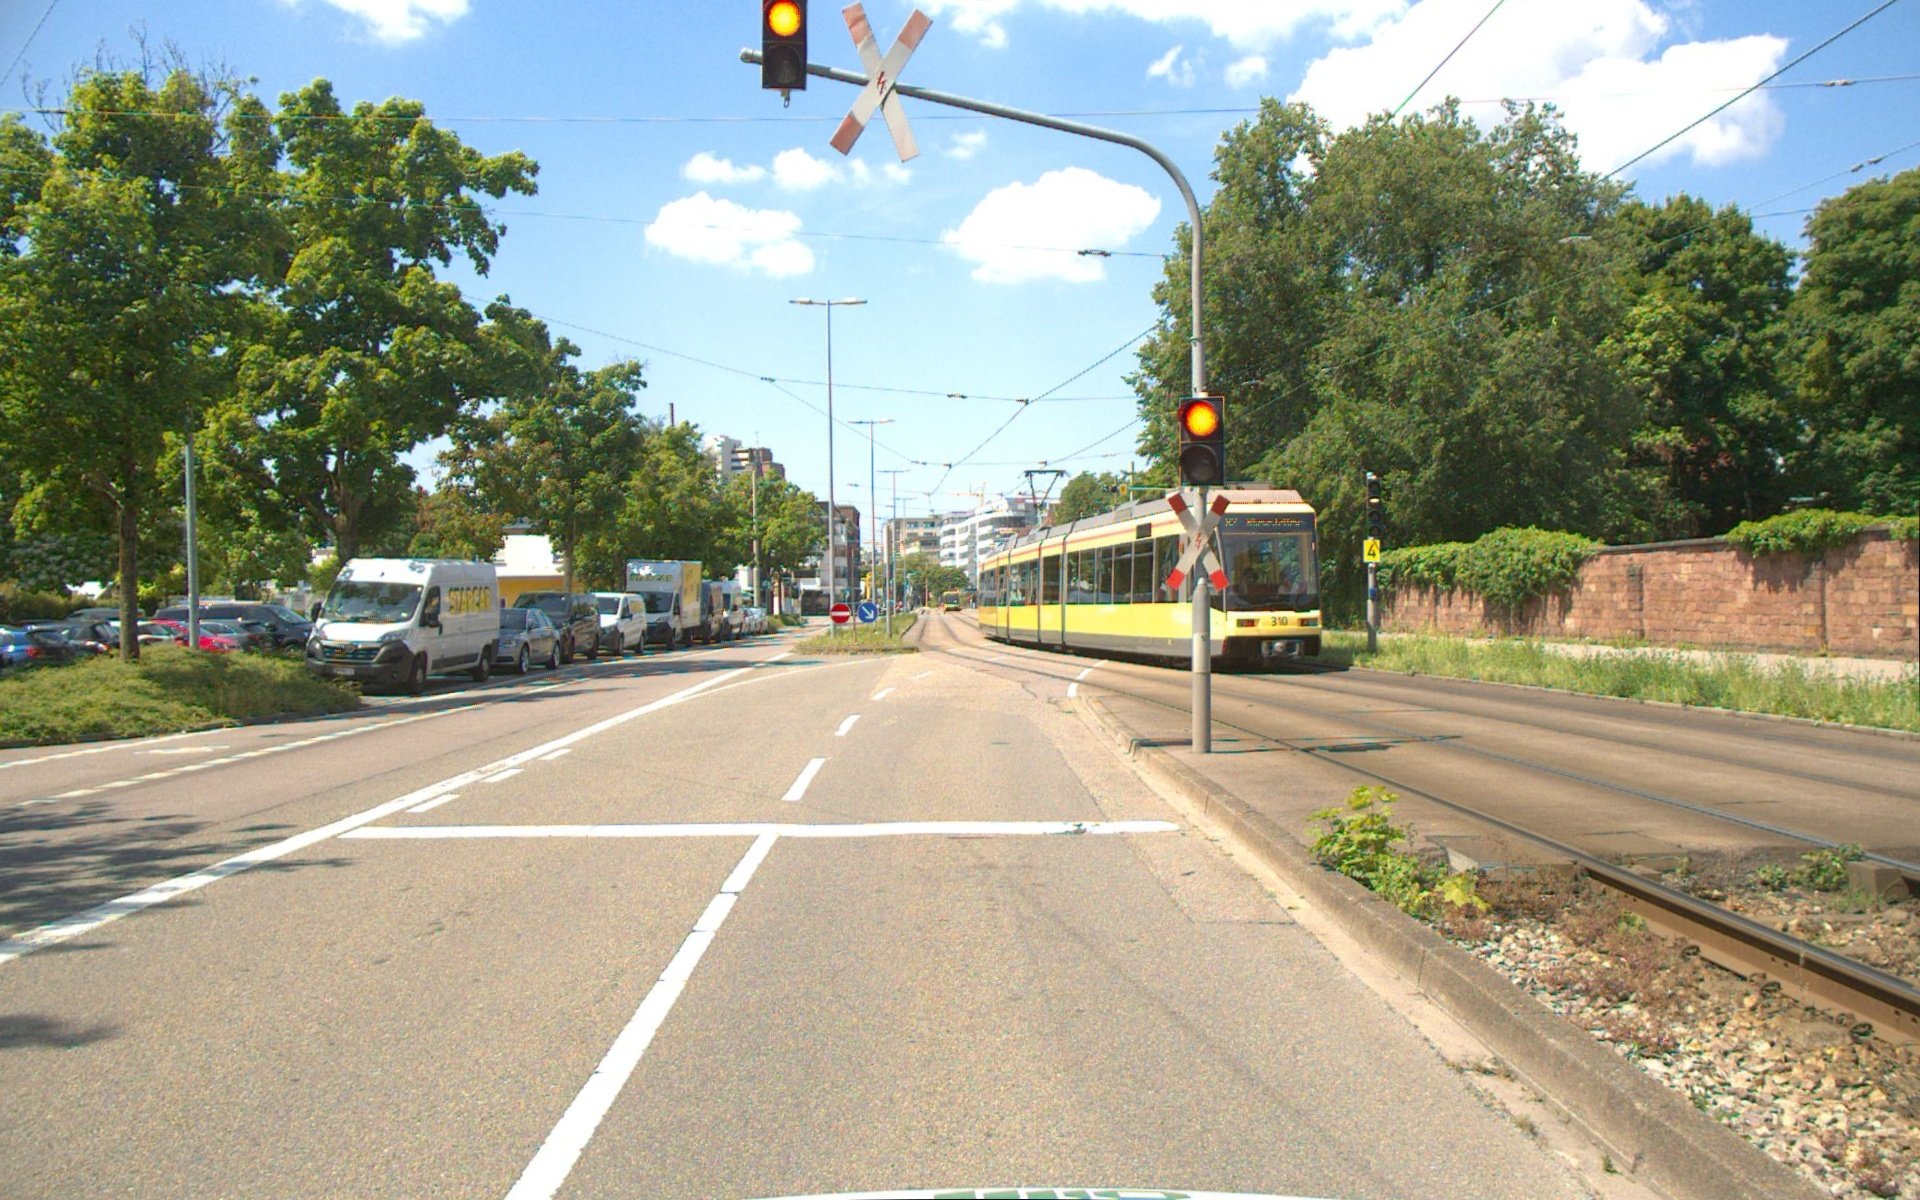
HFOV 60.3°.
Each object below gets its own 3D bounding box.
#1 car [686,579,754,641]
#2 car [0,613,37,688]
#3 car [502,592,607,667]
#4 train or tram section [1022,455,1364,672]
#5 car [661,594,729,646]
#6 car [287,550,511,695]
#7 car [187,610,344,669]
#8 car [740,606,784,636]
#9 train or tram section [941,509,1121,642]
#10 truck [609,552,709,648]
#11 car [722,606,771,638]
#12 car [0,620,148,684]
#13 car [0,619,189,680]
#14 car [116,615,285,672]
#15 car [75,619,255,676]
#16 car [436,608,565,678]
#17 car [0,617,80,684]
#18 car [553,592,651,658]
[{"bbox_3d":[-11.037,0.417,76.341,2.112,2.685,5.612,2,0,1],"label":"car"},{"bbox_3d":[-21.056,1.059,33.263,3.907,1.467,1.804,-2,0,-2],"label":"car"},{"bbox_3d":[-11.115,0.765,45.608,1.830,1.928,4.270,-1,0,0],"label":"car"},{"bbox_3d":[4.417,-0.673,37.877,2.888,3.756,18.357,0,0,-8],"label":"train or tram section"},{"bbox_3d":[-10.884,0.806,68.241,2.019,2.011,4.870,-2,0,0],"label":"car"},{"bbox_3d":[-10.907,0.400,32.756,2.112,2.530,6.194,2,0,1],"label":"car"},{"bbox_3d":[-20.847,1.173,49.752,3.907,1.634,1.804,-2,0,-2],"label":"car"},{"bbox_3d":[-11.591,1.199,97.115,2.019,1.609,4.870,-2,0,0],"label":"car"},{"bbox_3d":[1.912,-0.737,56.909,2.888,3.756,20.251,0,0,-7],"label":"train or tram section"},{"bbox_3d":[-10.972,-0.010,60.871,2.112,3.266,7.083,2,0,1],"label":"truck"},{"bbox_3d":[-11.542,1.154,89.705,2.019,1.609,4.870,-2,0,0],"label":"car"},{"bbox_3d":[-21.632,1.230,39.135,3.907,1.362,1.804,-2,0,-2],"label":"car"},{"bbox_3d":[-21.858,1.239,41.768,3.907,1.362,1.804,-2,0,-2],"label":"car"},{"bbox_3d":[-21.475,1.217,46.864,3.906,1.467,1.804,-2,0,-2],"label":"car"},{"bbox_3d":[-21.253,1.261,44.348,3.907,1.362,1.804,-2,0,-2],"label":"car"},{"bbox_3d":[-10.739,0.967,38.978,1.830,1.462,4.342,-2,0,0],"label":"car"},{"bbox_3d":[-21.446,1.116,35.678,3.907,1.362,1.804,-2,0,-2],"label":"car"},{"bbox_3d":[-11.221,0.762,52.215,2.019,1.931,4.870,-2,0,0],"label":"car"}]
